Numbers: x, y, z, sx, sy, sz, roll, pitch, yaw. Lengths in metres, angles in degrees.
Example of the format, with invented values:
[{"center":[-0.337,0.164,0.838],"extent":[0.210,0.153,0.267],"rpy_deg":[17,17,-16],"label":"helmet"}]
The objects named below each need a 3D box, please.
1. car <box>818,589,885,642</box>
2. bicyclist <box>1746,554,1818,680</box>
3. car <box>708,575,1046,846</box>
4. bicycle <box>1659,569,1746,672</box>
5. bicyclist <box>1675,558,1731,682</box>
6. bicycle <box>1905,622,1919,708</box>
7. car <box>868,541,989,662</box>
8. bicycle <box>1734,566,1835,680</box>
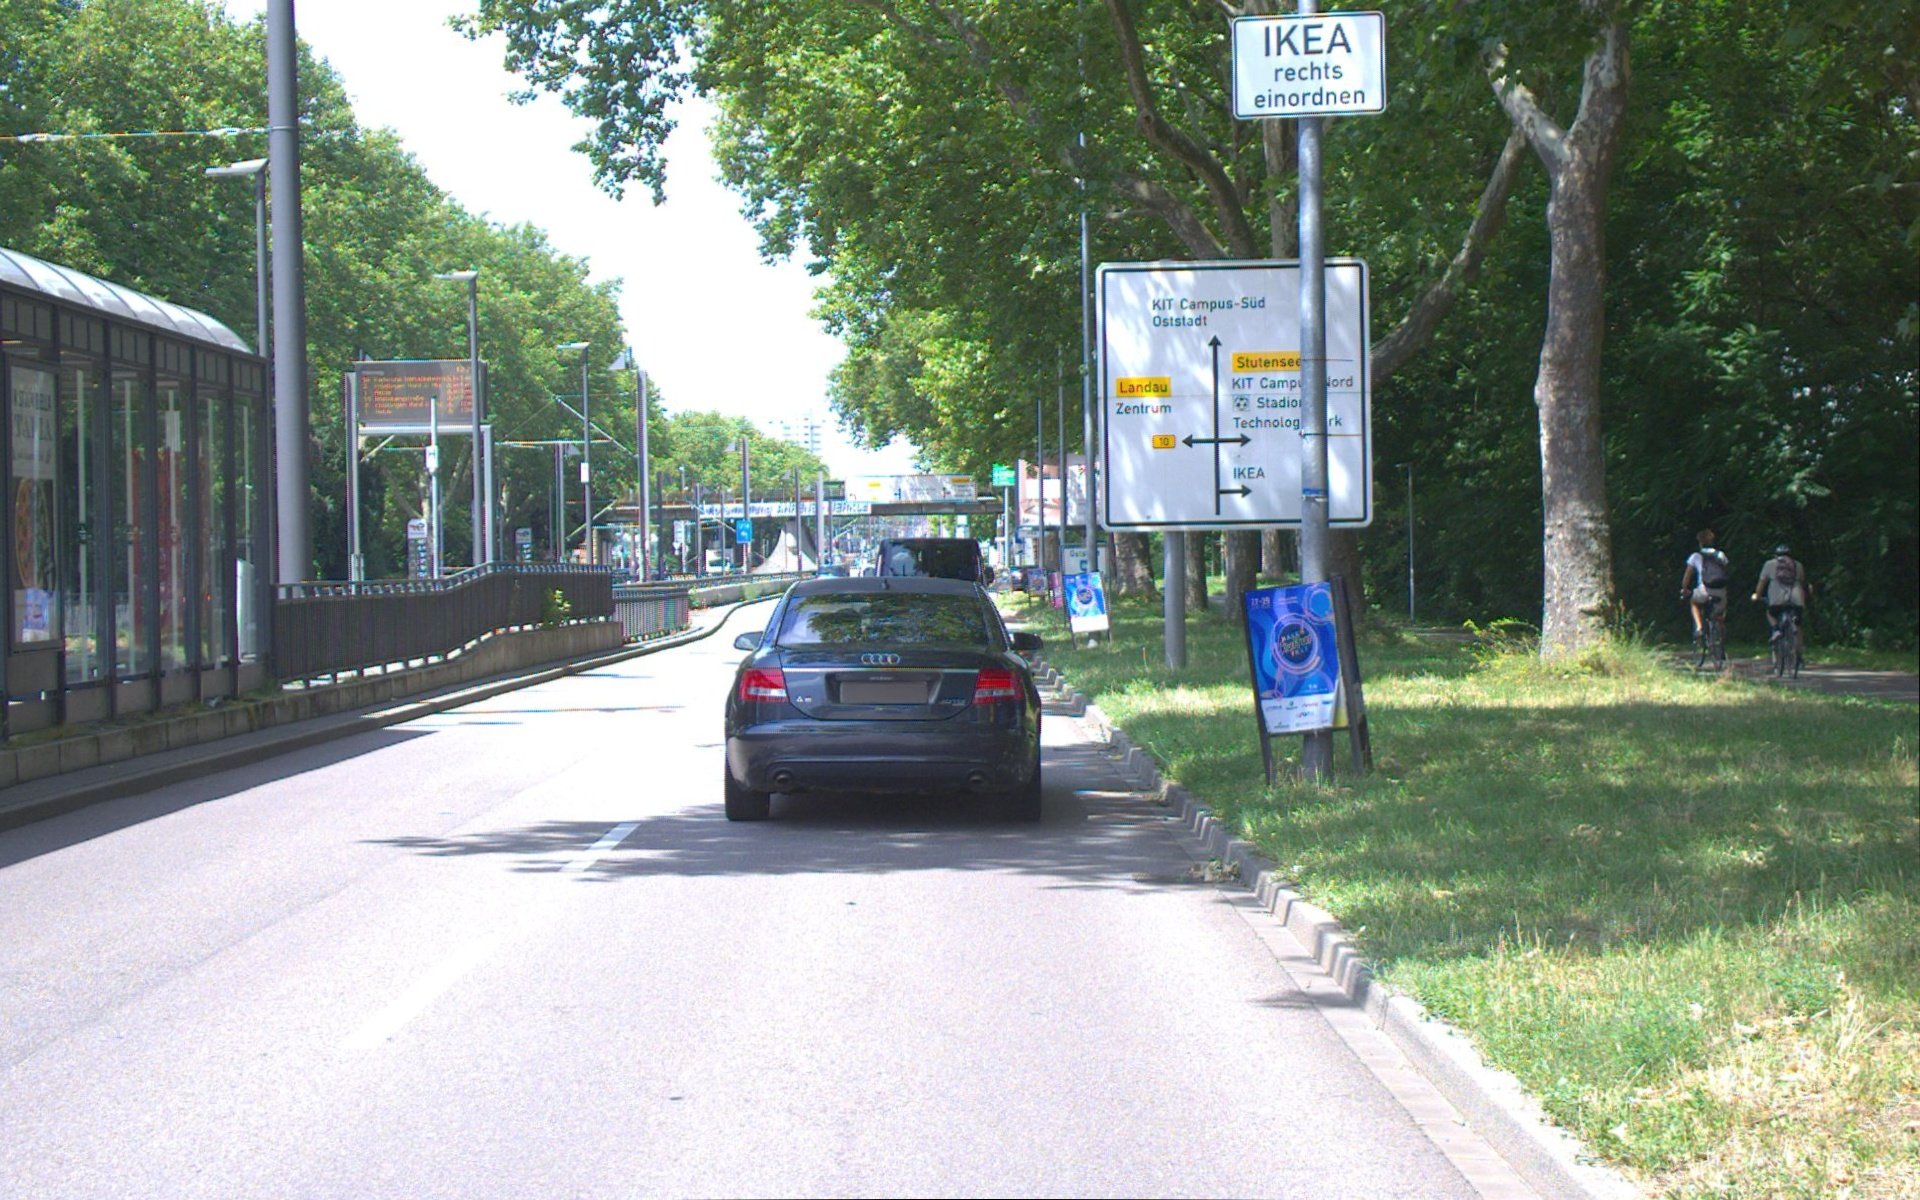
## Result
[{"center":[-3.071,0.428,97.146],"extent":[1.845,1.459,4.000],"rpy_deg":[-1,0,-2],"label":"car"},{"center":[10.560,0.212,44.199],"extent":[0.658,1.593,1.053],"rpy_deg":[-1,0,0],"label":"bicyclist"},{"center":[-0.507,0.594,20.753],"extent":[1.842,1.479,4.000],"rpy_deg":[0,0,-2],"label":"car"},{"center":[10.550,0.274,48.915],"extent":[0.610,1.415,2.662],"rpy_deg":[-1,0,-1],"label":"bicycle"},{"center":[10.538,0.275,48.766],"extent":[0.597,1.740,0.843],"rpy_deg":[0,0,0],"label":"bicyclist"},{"center":[10.238,0.677,35.070],"extent":[0.645,0.884,2.023],"rpy_deg":[-1,0,1],"label":"bicycle"},{"center":[-0.496,0.021,58.024],"extent":[1.848,1.953,4.144],"rpy_deg":[1,0,2],"label":"car"},{"center":[10.552,0.273,44.076],"extent":[0.610,1.415,2.662],"rpy_deg":[-1,0,-1],"label":"bicycle"}]
